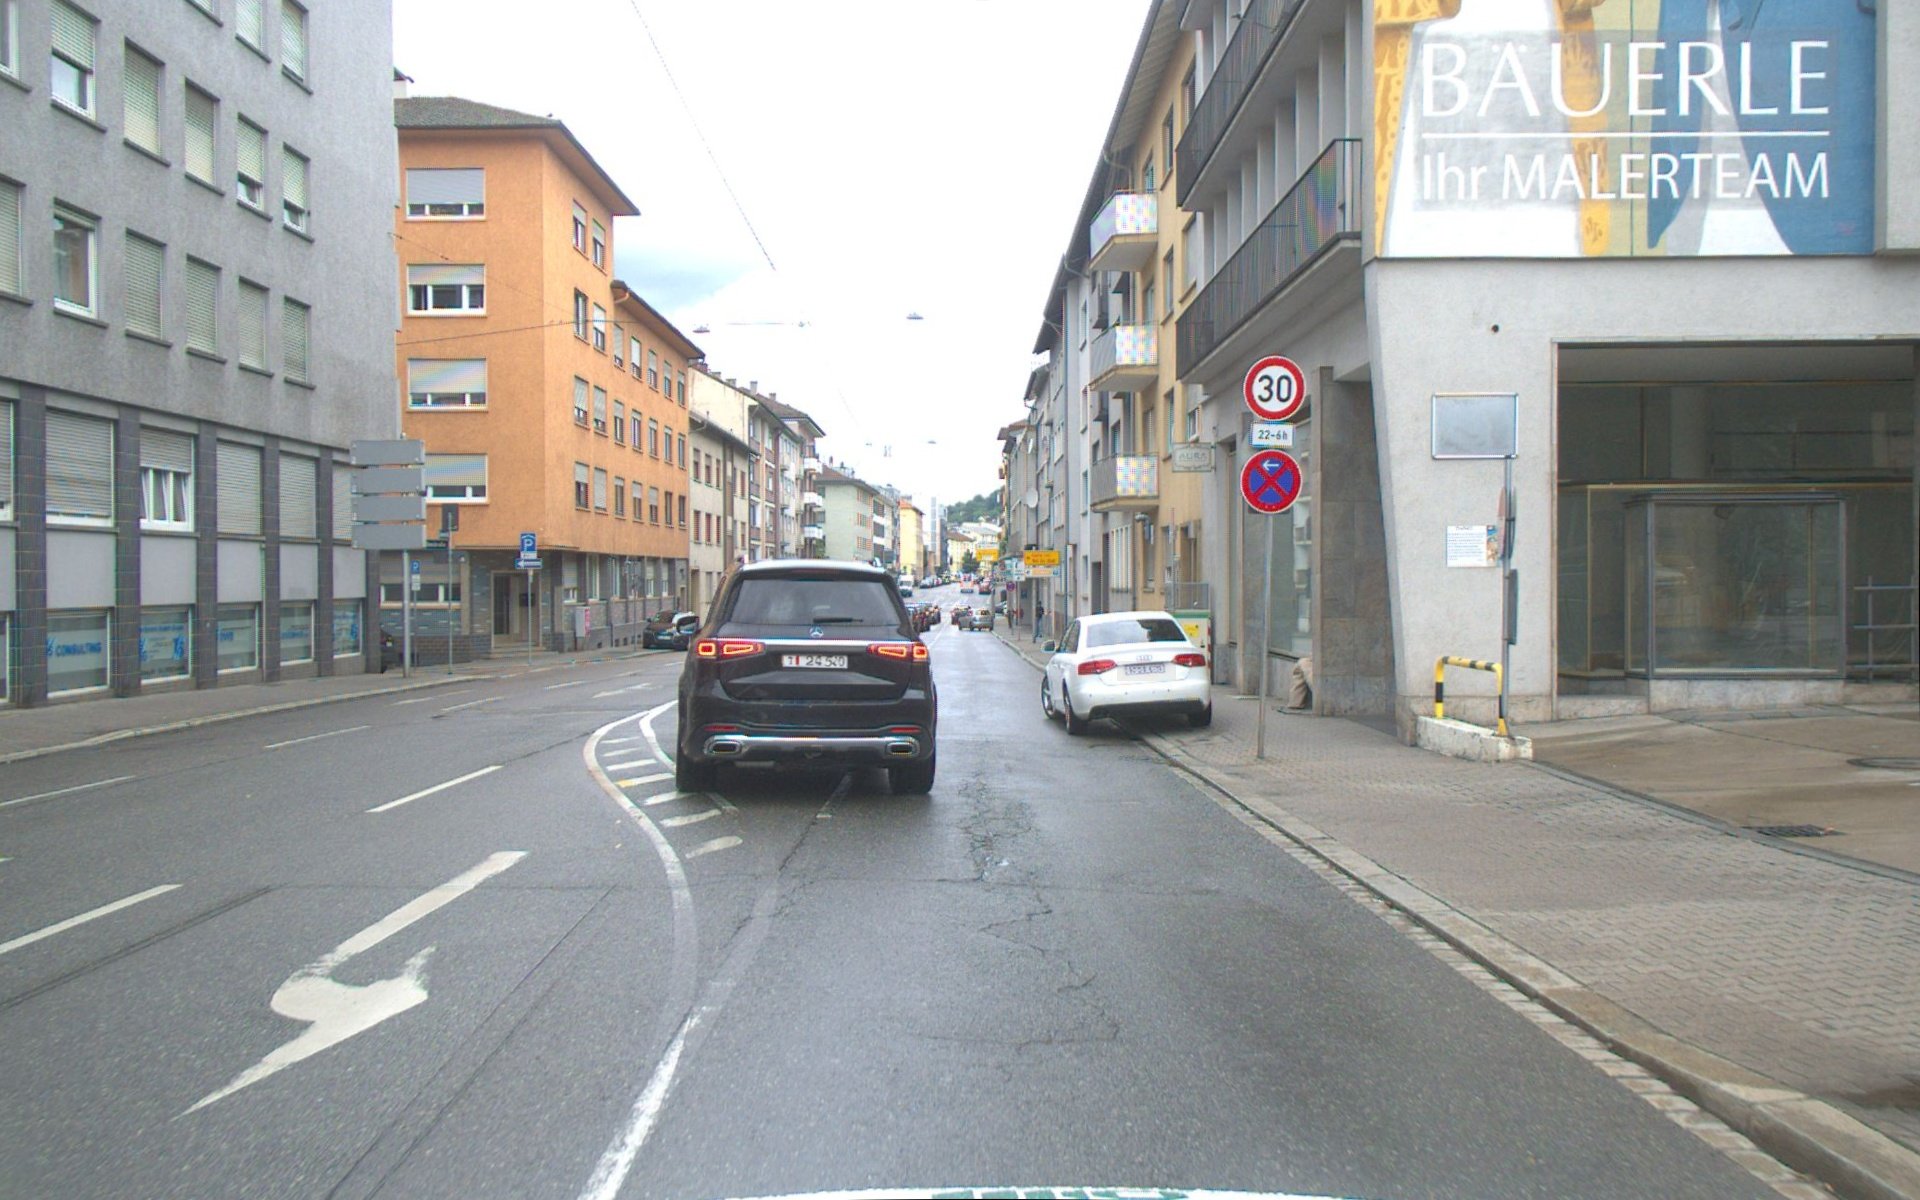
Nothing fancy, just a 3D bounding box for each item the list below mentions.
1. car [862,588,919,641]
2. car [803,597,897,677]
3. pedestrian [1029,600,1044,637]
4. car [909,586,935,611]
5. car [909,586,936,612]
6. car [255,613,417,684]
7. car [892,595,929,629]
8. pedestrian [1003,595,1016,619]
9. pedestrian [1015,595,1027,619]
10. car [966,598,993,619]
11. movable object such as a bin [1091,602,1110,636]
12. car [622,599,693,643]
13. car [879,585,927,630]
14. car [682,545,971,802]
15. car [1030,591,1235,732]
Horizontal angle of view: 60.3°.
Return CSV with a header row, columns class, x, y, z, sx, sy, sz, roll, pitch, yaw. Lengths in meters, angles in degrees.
class,x,y,z,sx,sy,sz,roll,pitch,yaw
car,-2.753,0.548,66.423,1.952,2.049,4.001,1,0,2
car,-2.308,0.754,35.539,1.855,1.537,4.171,2,0,-3
pedestrian,3.762,0.894,81.122,0.642,1.782,0.742,-3,0,5
car,-3.182,-0.125,139.782,1.952,2.049,4.001,1,0,2
car,-3.036,-0.076,134.374,1.952,2.049,4.001,1,0,2
car,-18.203,1.401,48.368,3.906,1.681,1.930,-5,0,0
car,-3.033,0.714,101.930,1.952,2.049,4.001,1,0,2
pedestrian,3.345,0.493,112.071,0.804,1.592,0.900,1,0,2
pedestrian,4.157,0.492,112.034,0.804,1.592,0.900,1,0,2
car,1.312,0.581,114.049,1.699,1.412,4.581,1,0,-1
movable object such as a bin,4.109,0.554,48.460,0.463,0.979,0.564,-4,0,1
car,-10.942,0.747,60.080,1.853,1.484,4.547,1,0,-2
car,-2.661,0.331,78.322,1.952,2.049,4.001,1,0,2
car,-1.316,0.497,14.048,2.038,1.796,4.601,1,1,-10
car,2.094,0.698,21.404,1.856,1.426,4.606,-6,1,-3
